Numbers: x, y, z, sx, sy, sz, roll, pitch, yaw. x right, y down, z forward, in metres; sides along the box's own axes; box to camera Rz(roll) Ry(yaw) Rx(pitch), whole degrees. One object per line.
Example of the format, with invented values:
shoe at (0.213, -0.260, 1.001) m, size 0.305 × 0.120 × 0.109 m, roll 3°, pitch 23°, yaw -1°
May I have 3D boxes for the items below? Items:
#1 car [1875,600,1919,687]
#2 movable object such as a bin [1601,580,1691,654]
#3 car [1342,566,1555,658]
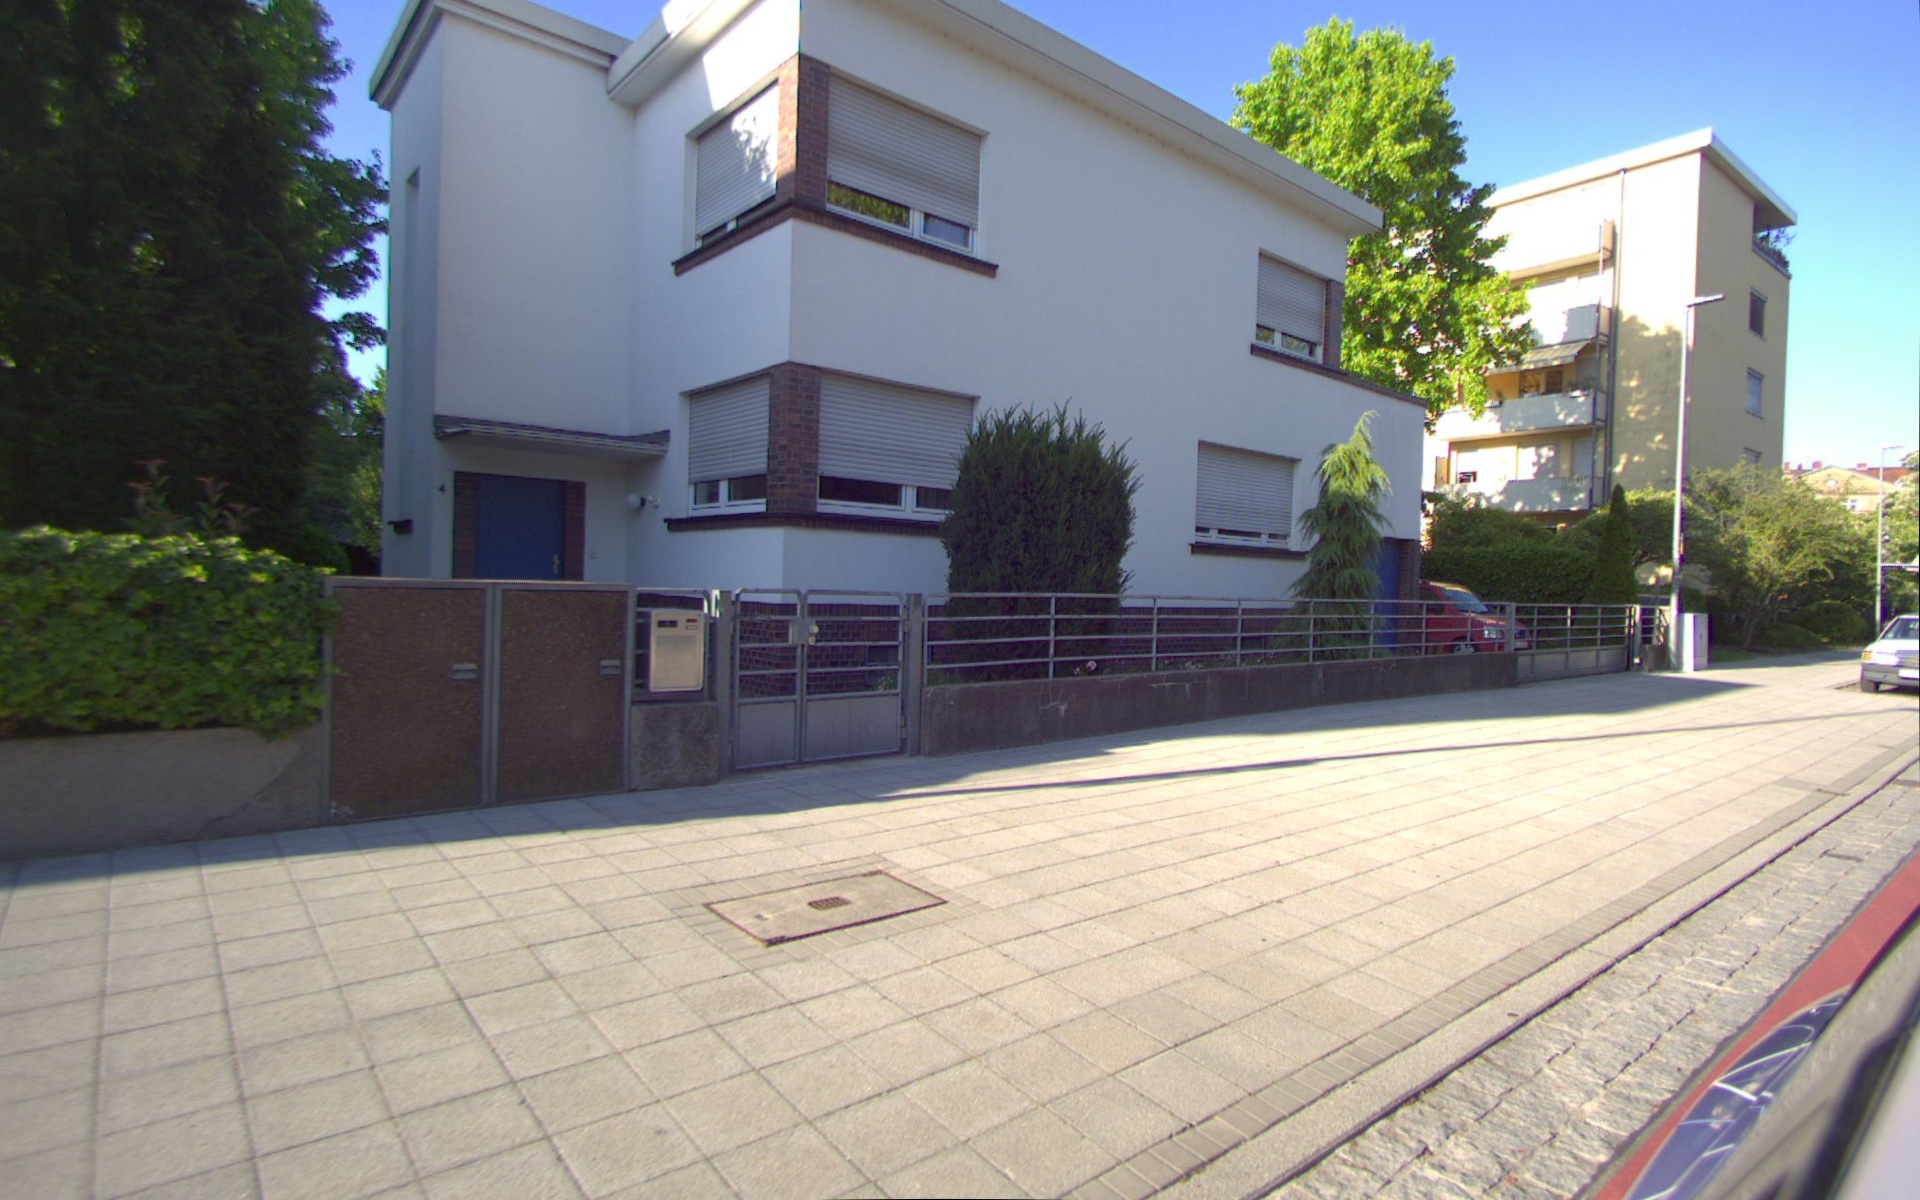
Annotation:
car at (17.580, 0.749, 17.800) m, size 4.296 × 1.407 × 1.567 m, roll 0°, pitch 3°, yaw -40°
movable object such as a bin at (14.001, 0.323, 20.665) m, size 1.102 × 1.450 × 1.240 m, roll 0°, pitch 1°, yaw -38°
car at (9.639, 0.183, 20.211) m, size 1.611 × 1.662 × 3.508 m, roll 0°, pitch 1°, yaw -32°
